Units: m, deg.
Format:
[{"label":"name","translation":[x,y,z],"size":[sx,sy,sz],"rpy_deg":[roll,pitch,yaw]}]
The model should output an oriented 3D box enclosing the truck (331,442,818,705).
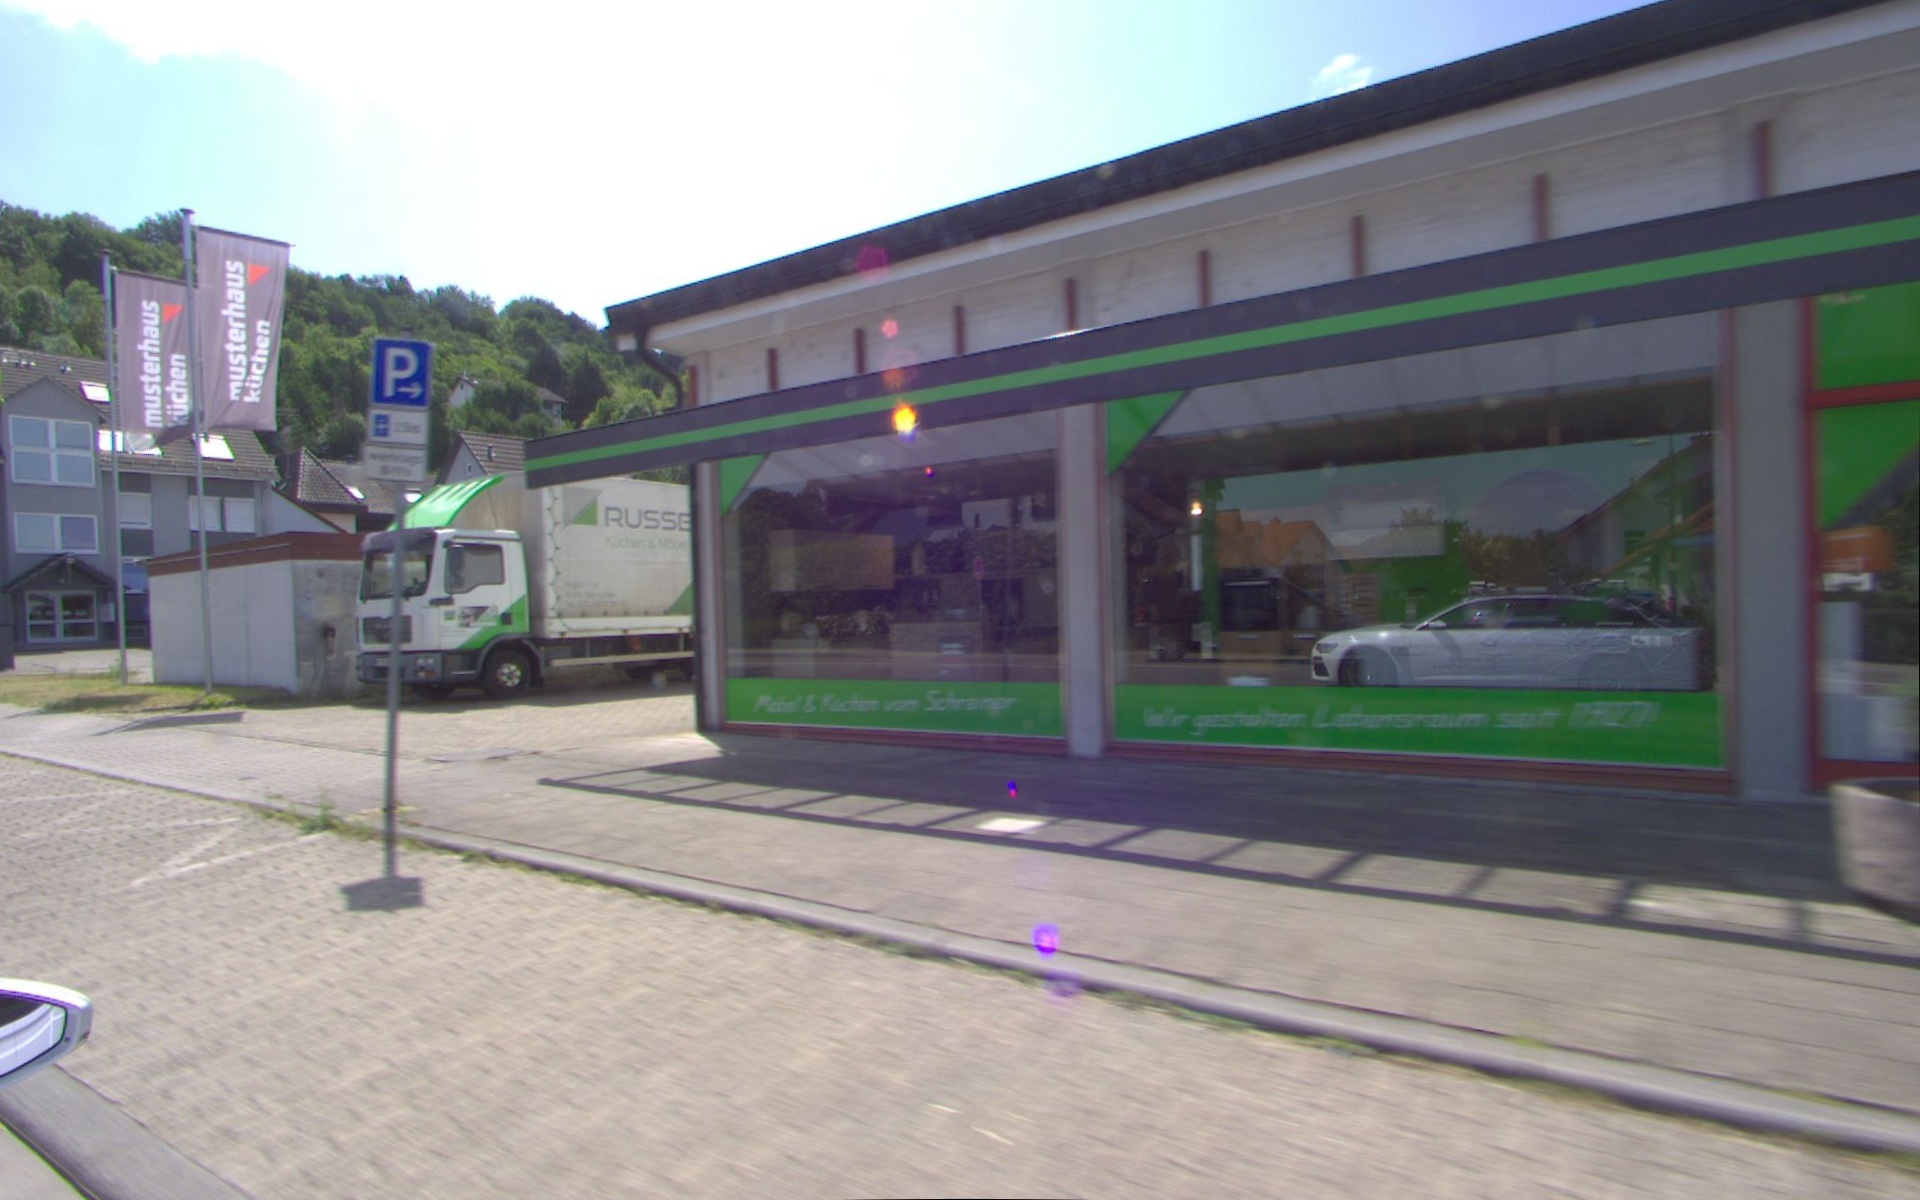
[{"label":"truck","translation":[-6.242,-0.308,17.956],"size":[2.640,3.619,8.153],"rpy_deg":[-2,-1,32]}]
